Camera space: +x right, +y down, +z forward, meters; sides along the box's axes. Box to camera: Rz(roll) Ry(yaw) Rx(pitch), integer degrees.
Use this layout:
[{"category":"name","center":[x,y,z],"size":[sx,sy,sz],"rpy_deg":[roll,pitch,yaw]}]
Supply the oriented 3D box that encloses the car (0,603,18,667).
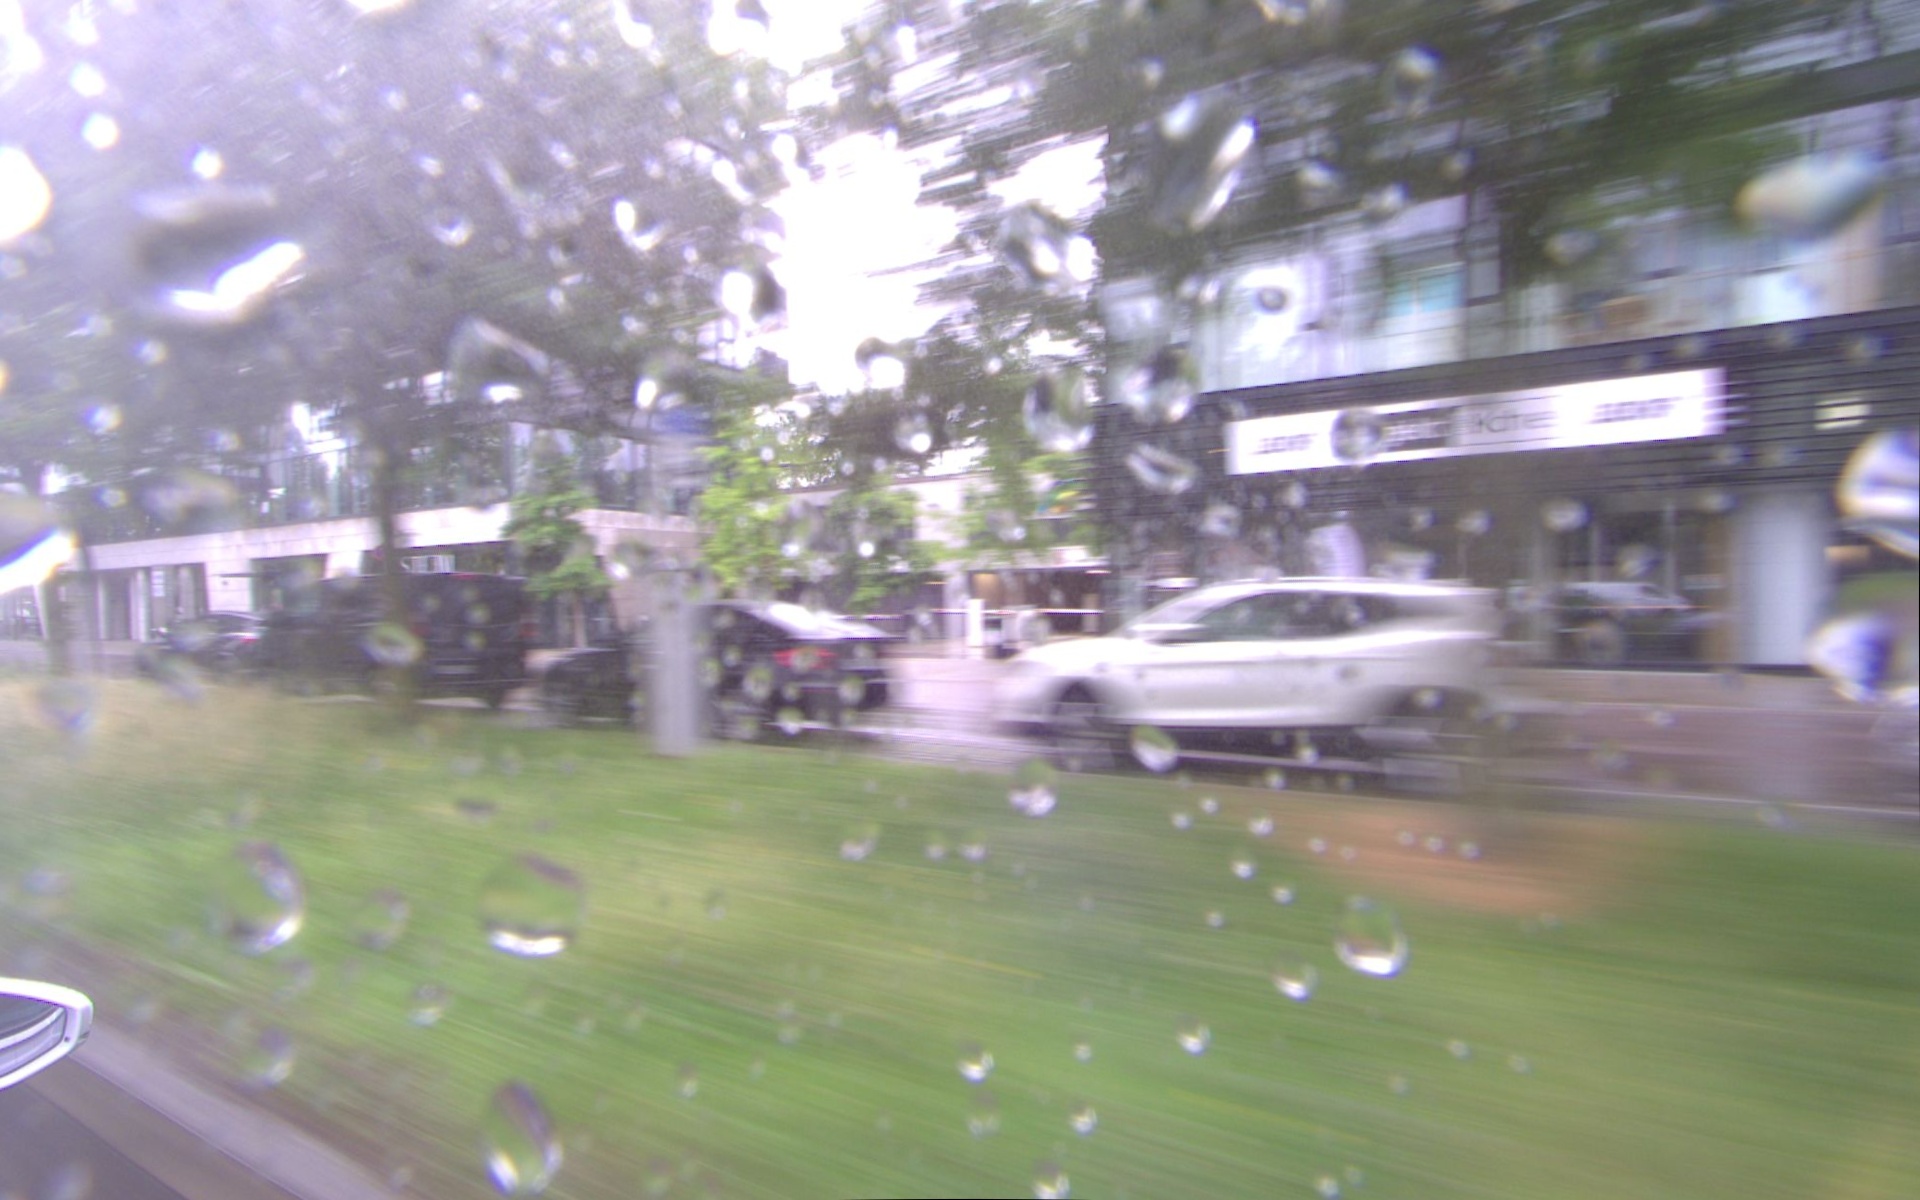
[{"category":"car","center":[-28.739,0.917,28.313],"size":[4.655,1.692,1.989],"rpy_deg":[2,2,33]}]

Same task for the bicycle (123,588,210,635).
[{"category":"bicycle","center":[-32.517,0.447,41.088],"size":[0.698,1.885,2.670],"rpy_deg":[1,1,37]}]

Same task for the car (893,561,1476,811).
[{"category":"car","center":[1.873,0.585,8.859],"size":[4.655,1.691,1.990],"rpy_deg":[0,1,32]}]

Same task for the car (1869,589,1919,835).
[{"category":"car","center":[7.787,0.627,4.874],"size":[4.653,1.470,1.769],"rpy_deg":[-1,-4,30]}]

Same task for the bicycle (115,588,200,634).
[{"category":"bicycle","center":[-33.675,0.425,42.076],"size":[0.698,1.885,2.670],"rpy_deg":[1,1,37]}]

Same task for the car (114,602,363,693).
[{"category":"car","center":[-13.633,0.833,18.905],"size":[4.410,1.533,1.955],"rpy_deg":[0,0,26]}]

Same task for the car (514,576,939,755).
[{"category":"car","center":[-2.817,0.590,11.651],"size":[4.886,1.691,1.989],"rpy_deg":[1,1,33]}]

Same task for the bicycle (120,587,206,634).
[{"category":"bicycle","center":[-33.091,0.427,41.623],"size":[0.698,1.885,2.670],"rpy_deg":[1,1,37]}]

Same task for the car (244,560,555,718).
[{"category":"car","center":[-8.493,0.451,15.032],"size":[4.955,1.979,1.989],"rpy_deg":[2,2,33]}]

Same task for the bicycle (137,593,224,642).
[{"category":"bicycle","center":[-31.268,0.678,40.212],"size":[0.698,1.885,2.670],"rpy_deg":[1,1,37]}]

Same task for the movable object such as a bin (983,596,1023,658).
[{"category":"movable object such as a bin","center":[0.941,0.577,21.856],"size":[0.638,1.294,0.607],"rpy_deg":[2,2,28]}]

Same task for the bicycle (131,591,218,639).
[{"category":"bicycle","center":[-31.859,0.585,40.684],"size":[0.698,1.885,2.670],"rpy_deg":[1,1,37]}]
